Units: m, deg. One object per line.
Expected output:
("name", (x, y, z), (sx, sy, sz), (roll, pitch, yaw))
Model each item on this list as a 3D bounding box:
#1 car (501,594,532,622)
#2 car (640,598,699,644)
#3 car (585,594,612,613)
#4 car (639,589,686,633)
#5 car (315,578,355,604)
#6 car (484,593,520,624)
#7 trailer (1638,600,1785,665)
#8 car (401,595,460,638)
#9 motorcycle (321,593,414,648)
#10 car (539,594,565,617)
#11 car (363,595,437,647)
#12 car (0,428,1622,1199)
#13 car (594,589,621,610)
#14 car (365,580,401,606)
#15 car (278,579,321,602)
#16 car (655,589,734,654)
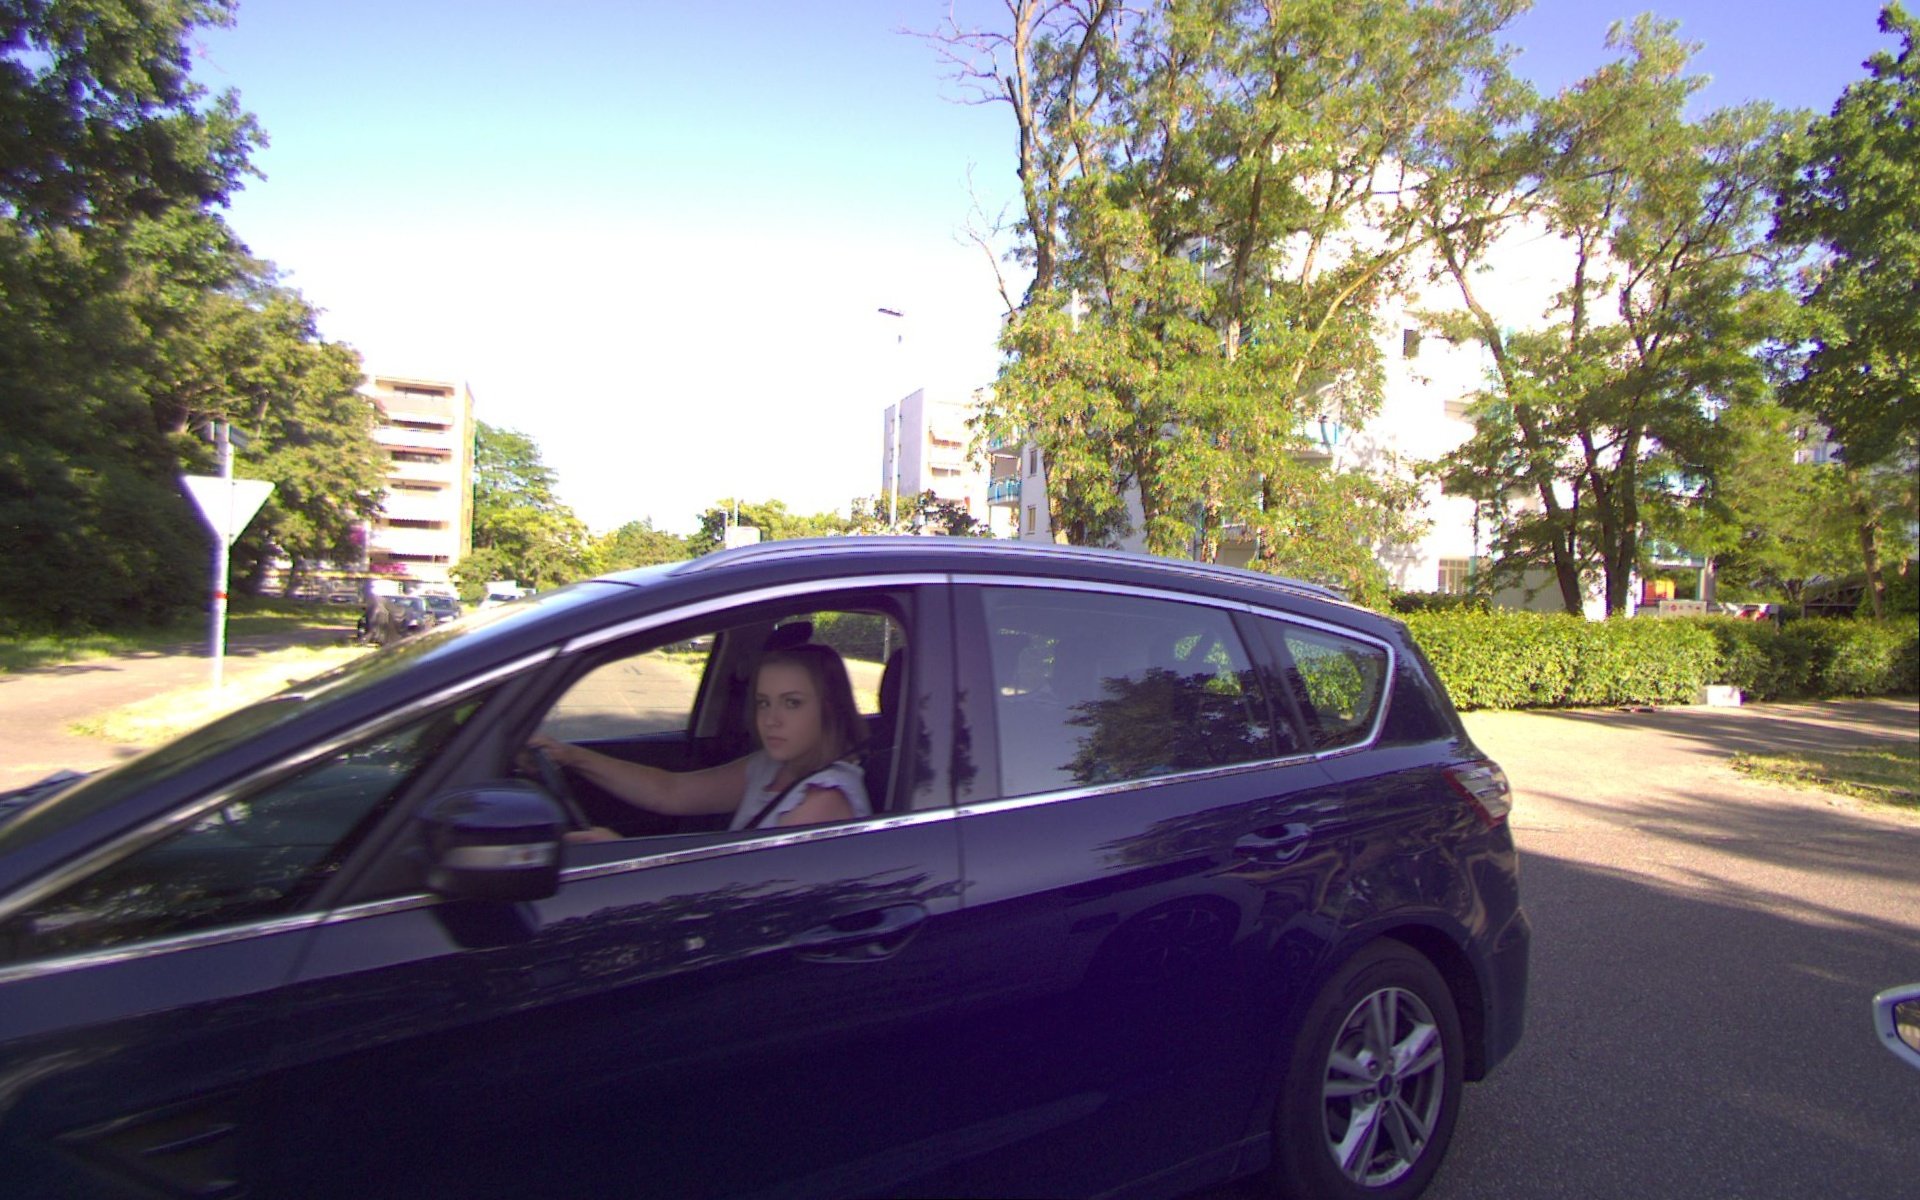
("car", (-26.449, 0.470, 59.951), (1.622, 1.578, 3.814), (2, 0, -23))
("car", (-10.731, 0.734, 36.912), (1.615, 1.531, 3.814), (2, 0, -23))
("car", (-33.005, 0.321, 91.717), (1.795, 1.617, 3.990), (2, 0, -12))
("car", (-14.860, 0.526, 50.058), (1.802, 2.088, 3.814), (2, 0, -23))
("car", (-43.915, -0.643, 70.671), (1.738, 1.767, 3.814), (2, 0, -23))
("car", (-24.844, 0.439, 54.547), (1.622, 1.578, 3.814), (2, 0, -23))
("trailer", (25.561, 1.112, 34.177), (4.364, 2.070, 1.973), (2, 0, -21))
("car", (-18.943, 0.580, 36.051), (1.538, 1.410, 3.569), (2, 0, -23))
("motorcycle", (-15.374, 0.533, 26.115), (0.664, 1.362, 1.955), (2, 0, 35))
("car", (-29.959, 0.366, 73.718), (1.622, 1.578, 3.814), (2, 0, -23))
("car", (-16.821, 0.607, 30.308), (1.538, 1.410, 3.569), (2, 0, -23))
("car", (-0.507, 0.688, 2.502), (4.439, 1.646, 1.813), (2, -2, -30))
("car", (-33.929, -0.030, 96.793), (1.949, 1.925, 3.990), (2, 0, -12))
("car", (-41.054, -0.491, 71.530), (1.738, 1.767, 3.814), (2, 0, -23))
("car", (-45.822, -0.657, 69.734), (1.775, 1.547, 3.814), (2, 0, -23))
("car", (-8.119, 0.603, 30.507), (1.732, 1.808, 3.814), (2, 0, -23))
